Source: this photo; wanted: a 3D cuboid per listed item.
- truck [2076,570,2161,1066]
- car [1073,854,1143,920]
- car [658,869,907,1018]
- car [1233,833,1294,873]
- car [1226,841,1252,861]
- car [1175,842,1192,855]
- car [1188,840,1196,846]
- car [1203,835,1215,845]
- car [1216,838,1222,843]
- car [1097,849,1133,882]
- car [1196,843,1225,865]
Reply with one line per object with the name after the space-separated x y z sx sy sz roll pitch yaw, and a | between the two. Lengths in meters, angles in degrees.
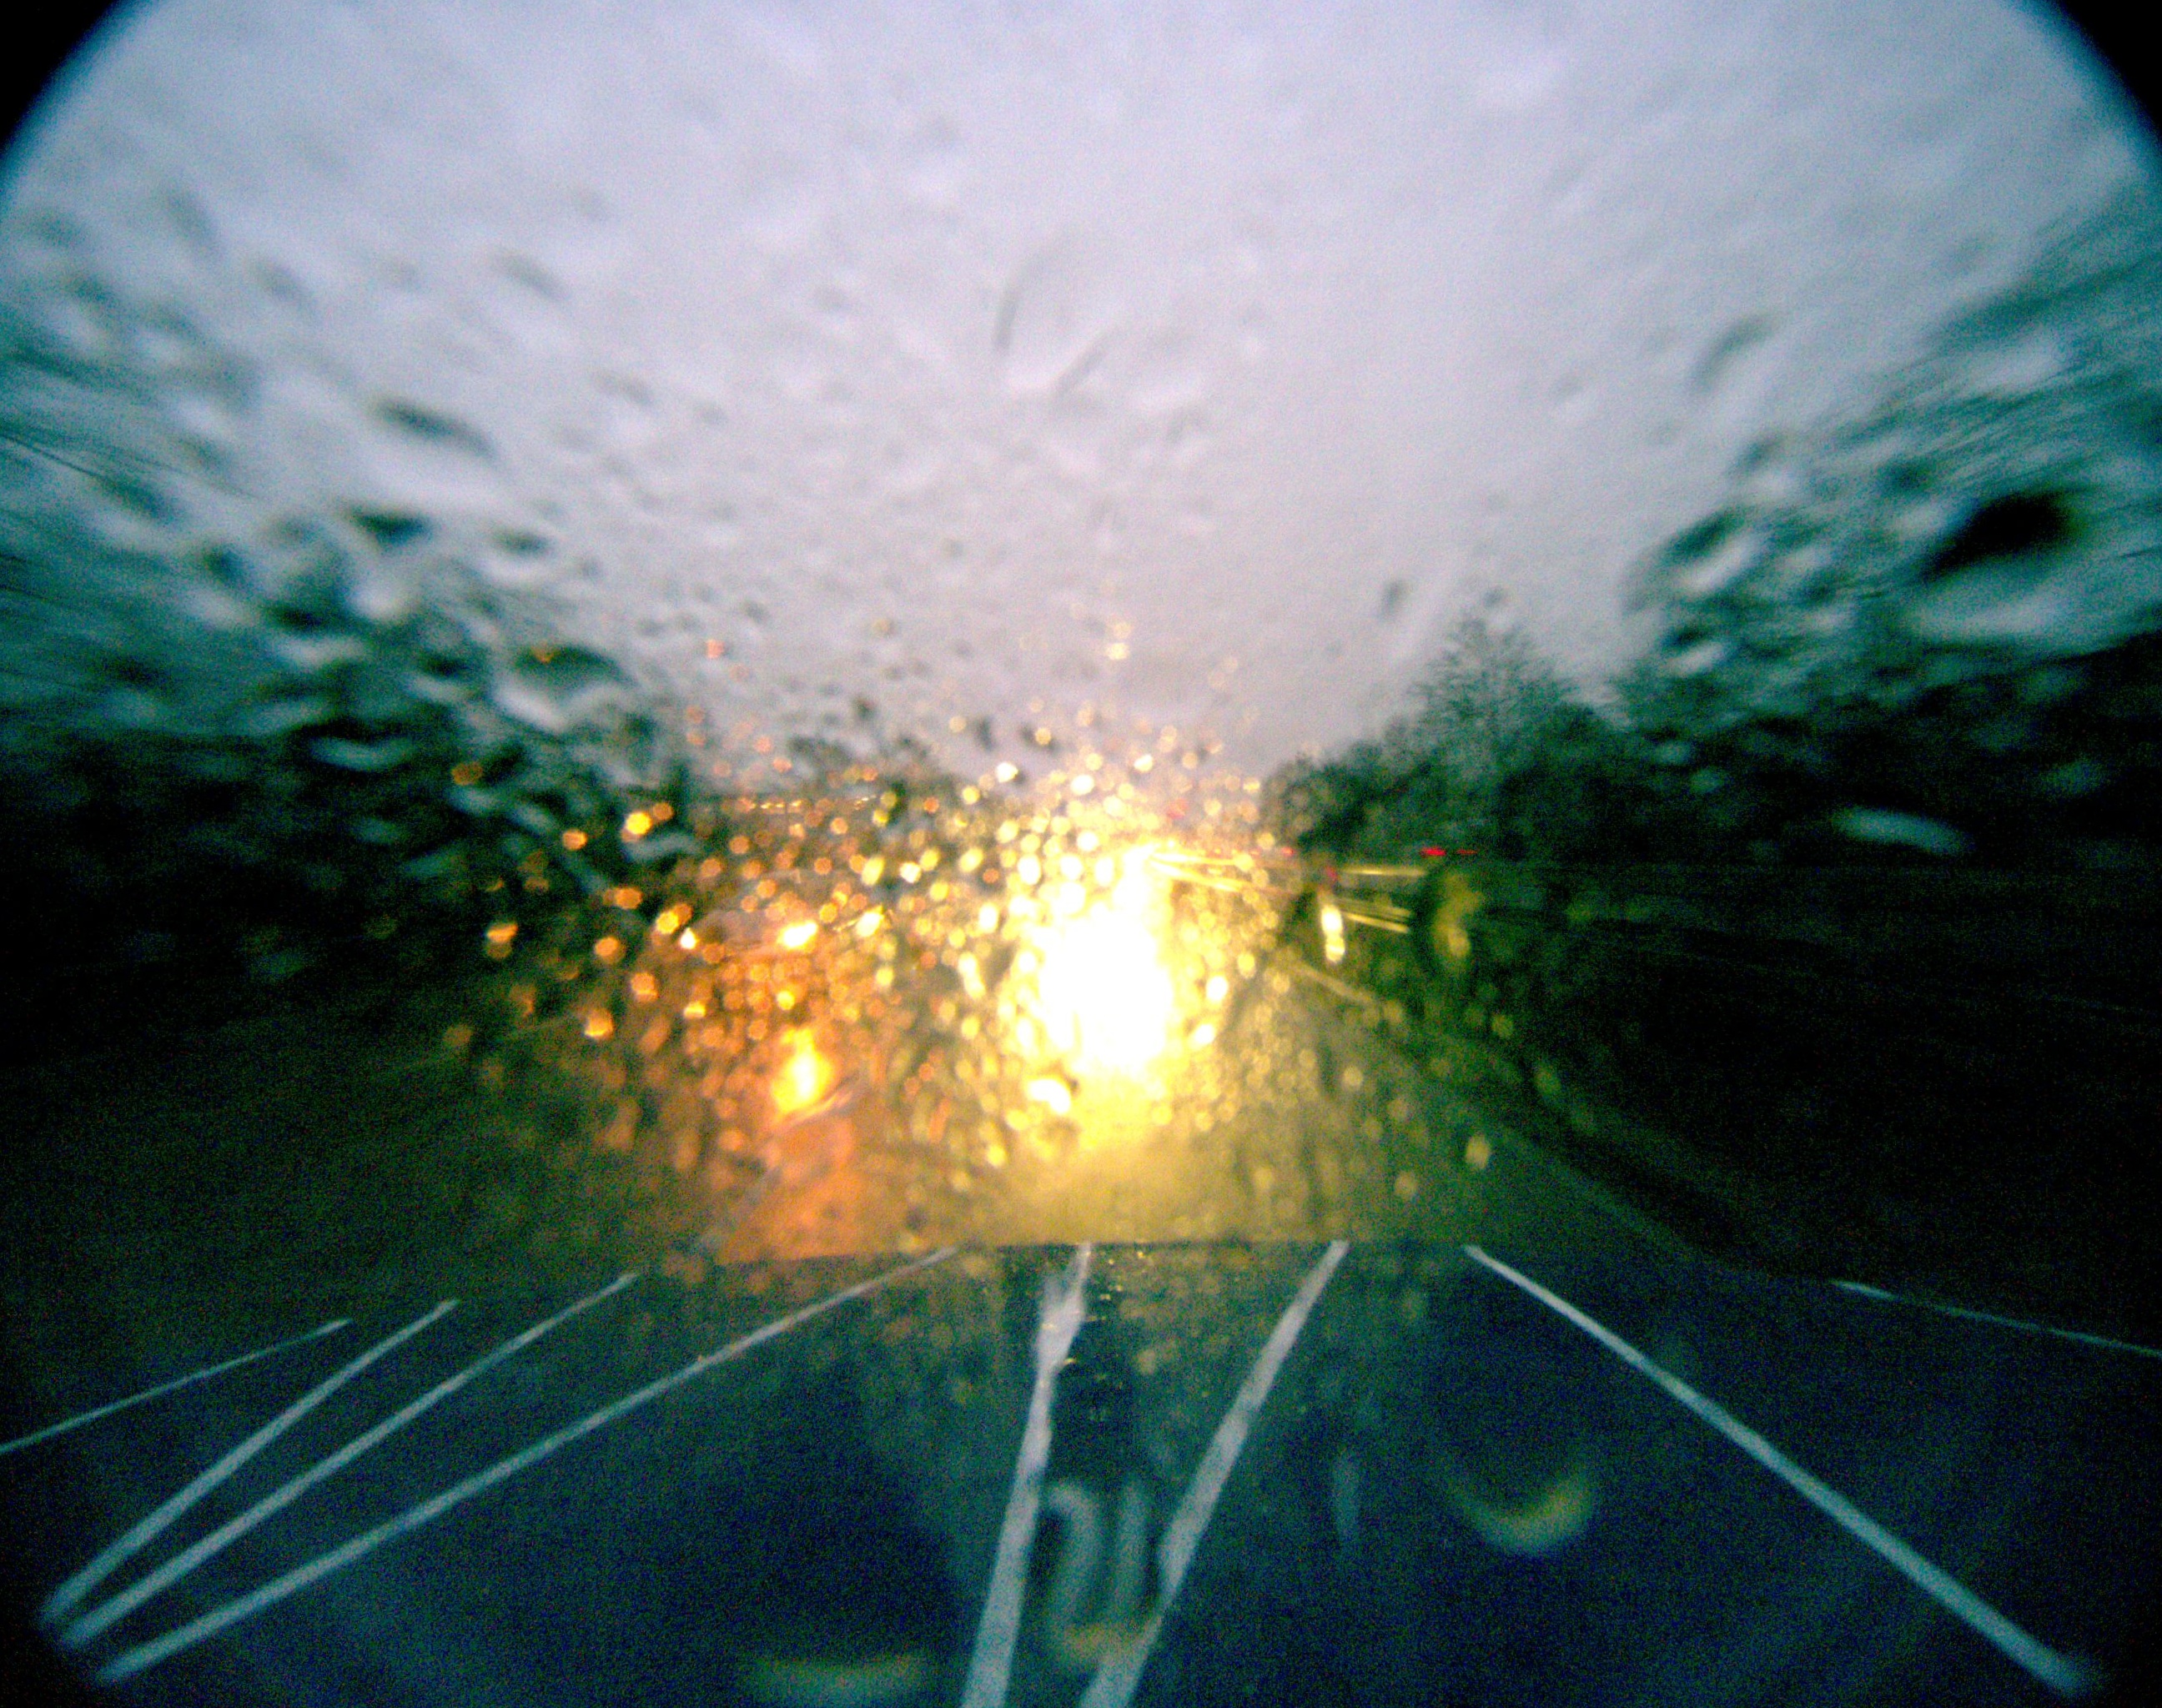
8.209 -0.211 1.357 2.721 3.143 7.727 -3 1 0 | truck
0.666 0.775 20.051 1.595 1.445 4.176 -3 1 1 | car
-4.013 1.099 11.099 1.854 1.493 4.261 -3 1 0 | car
9.283 -0.115 39.087 1.991 1.820 5.118 -3 1 2 | car
14.812 -0.283 71.238 1.696 1.657 4.433 -3 1 3 | car
12.690 -0.686 94.177 1.758 1.433 4.000 -3 1 4 | car
26.732 -2.646 182.792 1.787 1.501 4.135 -3 1 6 | car
25.109 -2.748 149.446 1.887 1.822 4.787 -3 1 5 | car
45.694 -4.585 251.389 1.707 1.557 4.852 -3 1 7 | car
1.809 0.550 40.502 1.758 1.521 4.000 -3 1 3 | car
10.593 -0.019 62.429 1.771 1.674 3.999 -3 1 2 | car
